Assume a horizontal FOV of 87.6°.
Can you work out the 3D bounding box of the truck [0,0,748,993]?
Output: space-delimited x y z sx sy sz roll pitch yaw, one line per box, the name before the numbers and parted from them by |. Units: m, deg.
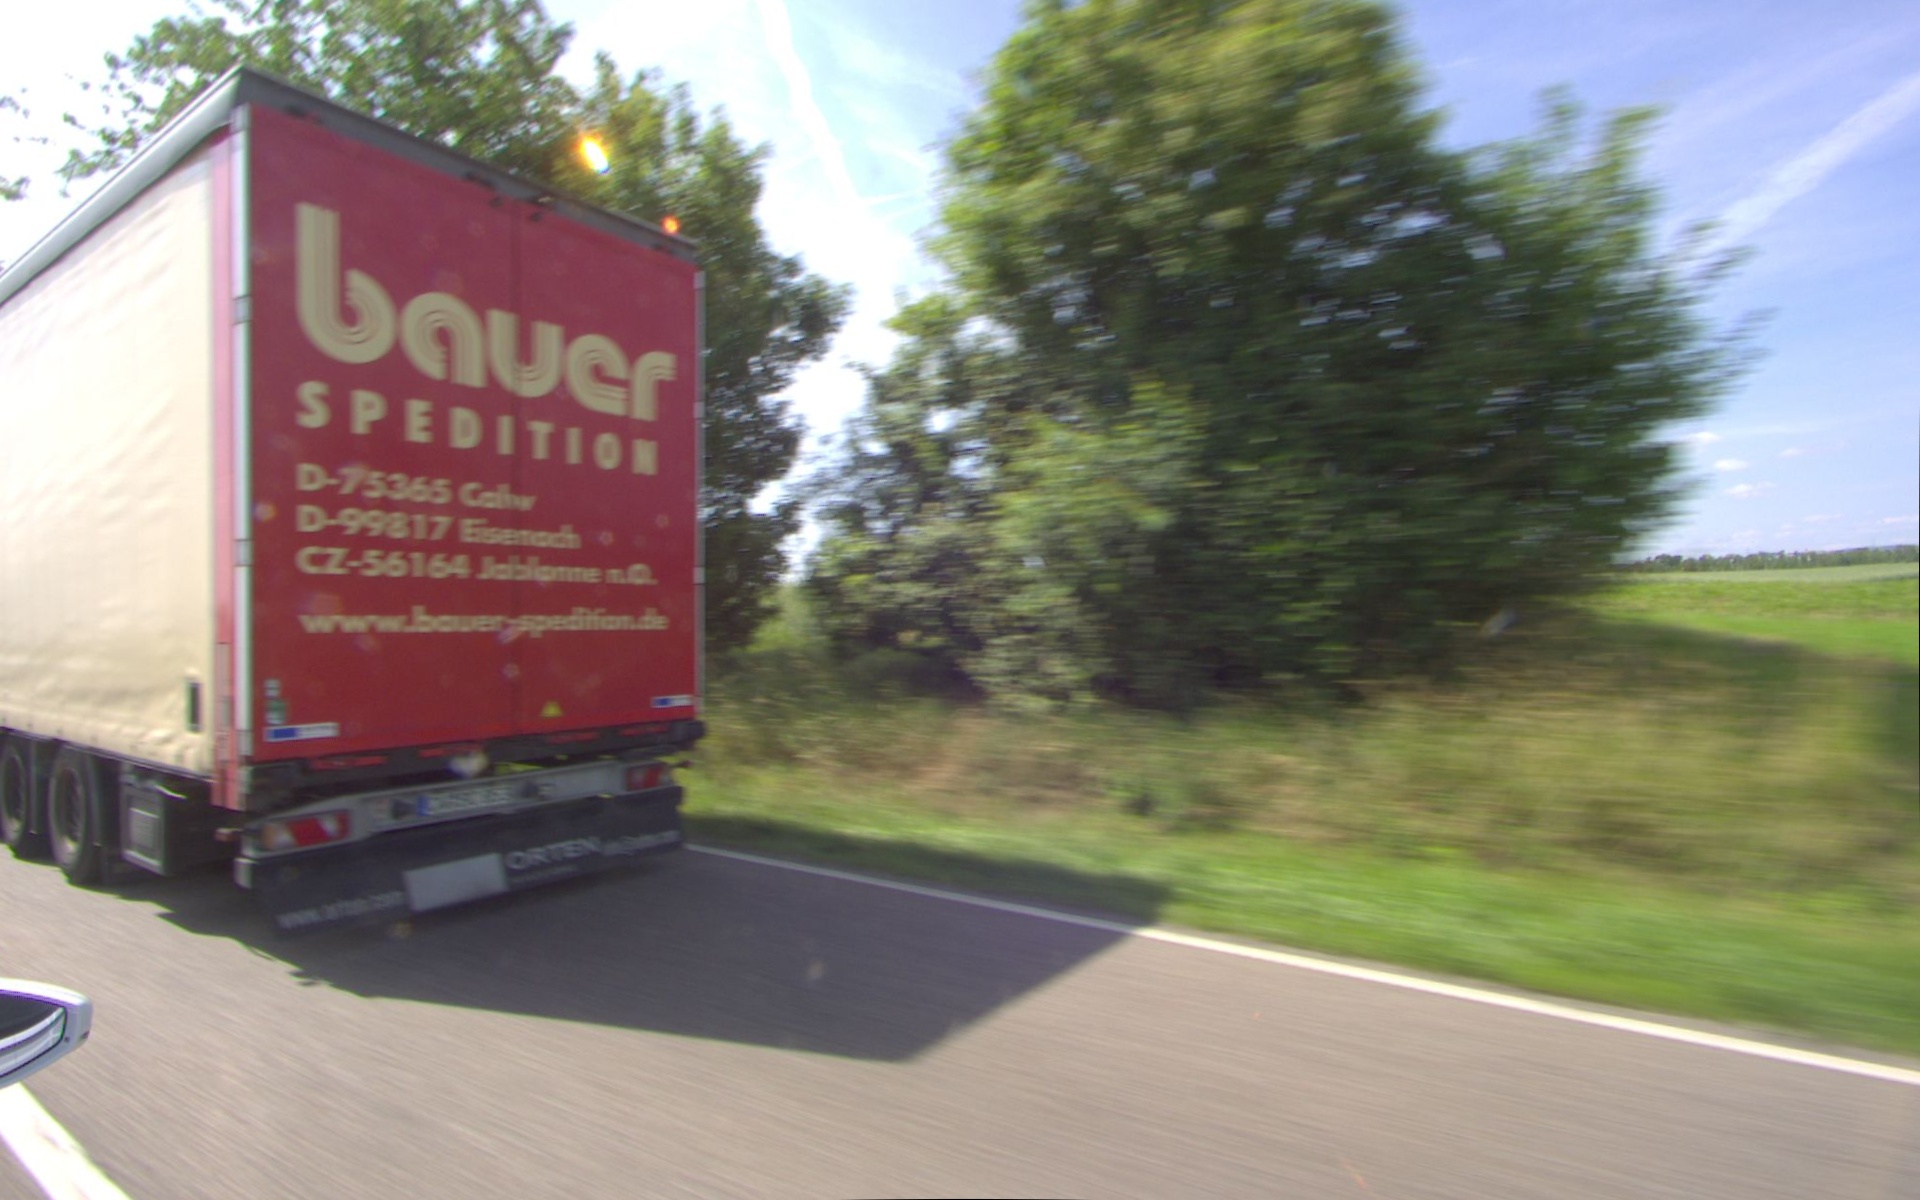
truck | -8.887 -0.324 10.132 16.497 4.233 2.998 -2 -2 36
